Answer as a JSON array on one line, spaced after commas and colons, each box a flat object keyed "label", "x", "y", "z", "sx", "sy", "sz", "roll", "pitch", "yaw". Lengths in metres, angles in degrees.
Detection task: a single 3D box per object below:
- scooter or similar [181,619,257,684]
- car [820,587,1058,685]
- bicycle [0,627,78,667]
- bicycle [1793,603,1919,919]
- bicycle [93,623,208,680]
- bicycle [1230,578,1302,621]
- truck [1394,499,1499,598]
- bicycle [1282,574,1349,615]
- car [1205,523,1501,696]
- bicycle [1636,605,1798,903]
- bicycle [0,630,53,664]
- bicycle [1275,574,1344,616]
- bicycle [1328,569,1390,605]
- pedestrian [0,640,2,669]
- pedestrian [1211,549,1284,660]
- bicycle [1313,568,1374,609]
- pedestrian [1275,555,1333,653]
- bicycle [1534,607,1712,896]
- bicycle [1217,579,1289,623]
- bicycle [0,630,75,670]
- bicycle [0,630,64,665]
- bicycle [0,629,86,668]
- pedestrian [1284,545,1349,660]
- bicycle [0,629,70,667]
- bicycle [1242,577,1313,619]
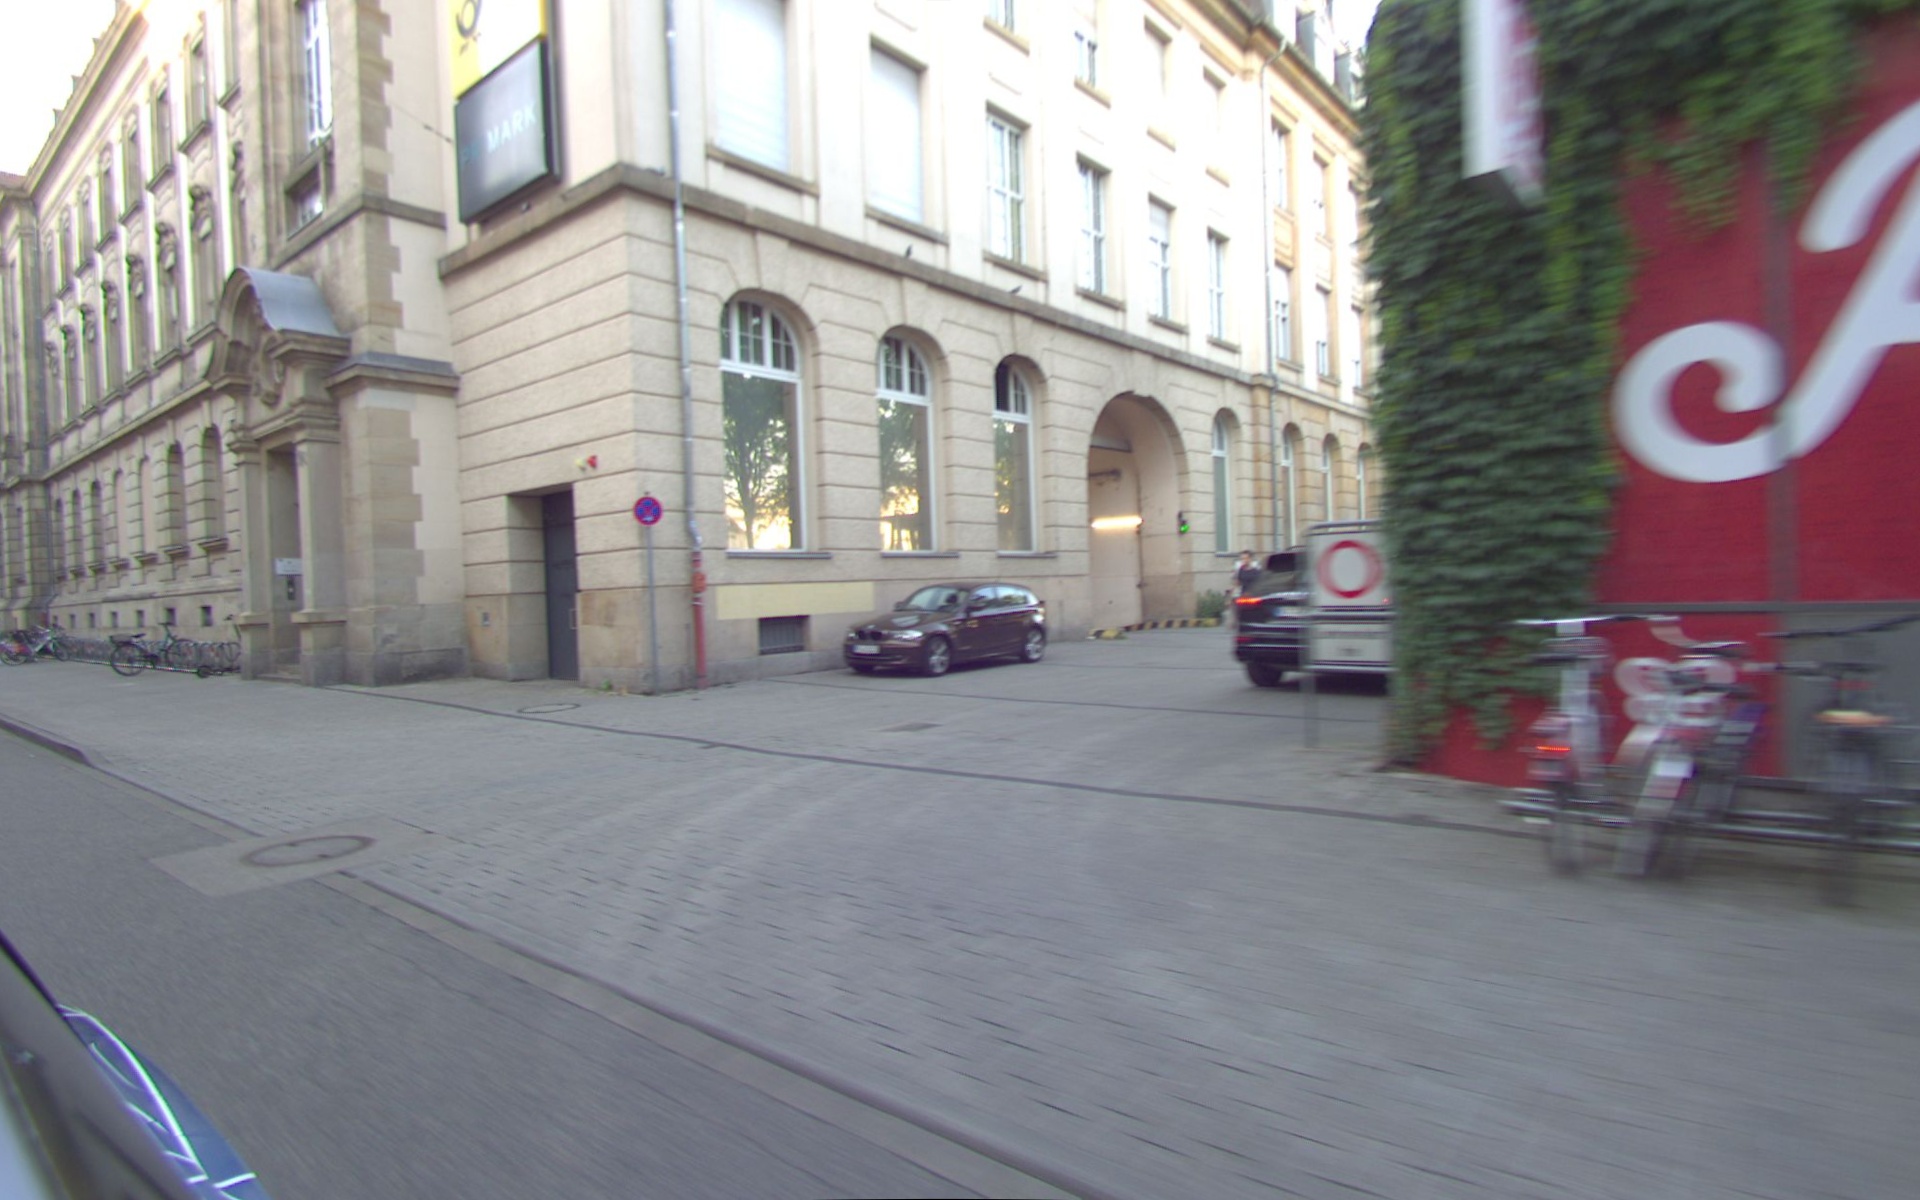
[{"label": "scooter or similar", "x": -15.367, "y": 1.054, "z": 21.008, "sx": 0.495, "sy": 1.242, "sz": 1.126, "roll": -2, "pitch": 1, "yaw": 28}, {"label": "car", "x": -0.224, "y": 0.525, "z": 16.636, "sx": 1.749, "sy": 1.381, "sz": 3.965, "roll": -2, "pitch": -1, "yaw": 39}, {"label": "bicycle", "x": -29.715, "y": 1.507, "z": 32.674, "sx": 0.499, "sy": 1.116, "sz": 1.779, "roll": -1, "pitch": 2, "yaw": 34}, {"label": "bicycle", "x": 4.053, "y": 0.604, "z": 4.492, "sx": 0.499, "sy": 1.116, "sz": 1.777, "roll": -2, "pitch": 0, "yaw": 39}, {"label": "bicycle", "x": -18.495, "y": 1.149, "z": 23.167, "sx": 0.616, "sy": 1.069, "sz": 1.928, "roll": -2, "pitch": 3, "yaw": 25}, {"label": "bicycle", "x": 8.337, "y": -0.007, "z": 27.622, "sx": 1.800, "sy": 1.116, "sz": 0.493, "roll": -2, "pitch": 1, "yaw": 43}, {"label": "truck", "x": 15.483, "y": -1.649, "z": 32.122, "sx": 1.999, "sy": 2.899, "sz": 3.948, "roll": -2, "pitch": 3, "yaw": 40}, {"label": "bicycle", "x": 10.403, "y": -0.167, "z": 29.624, "sx": 1.790, "sy": 1.116, "sz": 0.496, "roll": -2, "pitch": 1, "yaw": 26}, {"label": "car", "x": 5.038, "y": 0.097, "z": 12.644, "sx": 2.066, "sy": 1.773, "sz": 4.175, "roll": -2, "pitch": -1, "yaw": 42}, {"label": "bicycle", "x": 3.644, "y": 0.617, "z": 4.838, "sx": 0.499, "sy": 1.116, "sz": 1.777, "roll": -2, "pitch": 0, "yaw": 39}, {"label": "bicycle", "x": -33.309, "y": 1.655, "z": 35.642, "sx": 0.619, "sy": 1.069, "sz": 1.918, "roll": -1, "pitch": 2, "yaw": 39}, {"label": "bicycle", "x": 10.018, "y": -0.132, "z": 29.060, "sx": 1.791, "sy": 1.116, "sz": 0.496, "roll": -2, "pitch": 1, "yaw": 27}, {"label": "bicycle", "x": 13.138, "y": -0.415, "z": 33.374, "sx": 1.796, "sy": 1.116, "sz": 0.494, "roll": -2, "pitch": 1, "yaw": 36}, {"label": "pedestrian", "x": -30.426, "y": 1.235, "z": 31.552, "sx": 0.752, "sy": 1.865, "sz": 0.583, "roll": -2, "pitch": 1, "yaw": 35}, {"label": "pedestrian", "x": 4.856, "y": 0.079, "z": 17.078, "sx": 0.872, "sy": 1.815, "sz": 0.776, "roll": -2, "pitch": -1, "yaw": 43}, {"label": "bicycle", "x": 11.848, "y": -0.330, "z": 31.291, "sx": 0.492, "sy": 1.215, "sz": 1.805, "roll": -3, "pitch": 1, "yaw": -31}, {"label": "pedestrian", "x": 6.030, "y": 0.068, "z": 17.722, "sx": 0.718, "sy": 1.669, "sz": 0.629, "roll": -2, "pitch": -1, "yaw": 43}, {"label": "bicycle", "x": 3.300, "y": 0.629, "z": 4.965, "sx": 0.500, "sy": 1.116, "sz": 1.776, "roll": -2, "pitch": 0, "yaw": 40}, {"label": "bicycle", "x": 7.839, "y": 0.031, "z": 27.129, "sx": 1.800, "sy": 1.116, "sz": 0.493, "roll": -2, "pitch": 1, "yaw": 43}, {"label": "bicycle", "x": -28.580, "y": 1.540, "z": 31.136, "sx": 0.619, "sy": 1.069, "sz": 1.919, "roll": -1, "pitch": 2, "yaw": 38}, {"label": "bicycle", "x": -32.285, "y": 1.641, "z": 34.923, "sx": 0.618, "sy": 1.069, "sz": 1.921, "roll": -1, "pitch": 2, "yaw": 34}, {"label": "bicycle", "x": -29.099, "y": 1.527, "z": 32.140, "sx": 0.618, "sy": 1.069, "sz": 1.921, "roll": -1, "pitch": 2, "yaw": 34}, {"label": "pedestrian", "x": 5.797, "y": 0.042, "z": 16.459, "sx": 0.770, "sy": 1.815, "sz": 0.619, "roll": -2, "pitch": -1, "yaw": 43}, {"label": "bicycle", "x": -30.658, "y": 1.568, "z": 33.414, "sx": 0.499, "sy": 1.116, "sz": 1.779, "roll": -1, "pitch": 2, "yaw": 34}, {"label": "bicycle", "x": 8.803, "y": -0.046, "z": 28.076, "sx": 1.800, "sy": 1.116, "sz": 0.493, "roll": -2, "pitch": 1, "yaw": 43}]
